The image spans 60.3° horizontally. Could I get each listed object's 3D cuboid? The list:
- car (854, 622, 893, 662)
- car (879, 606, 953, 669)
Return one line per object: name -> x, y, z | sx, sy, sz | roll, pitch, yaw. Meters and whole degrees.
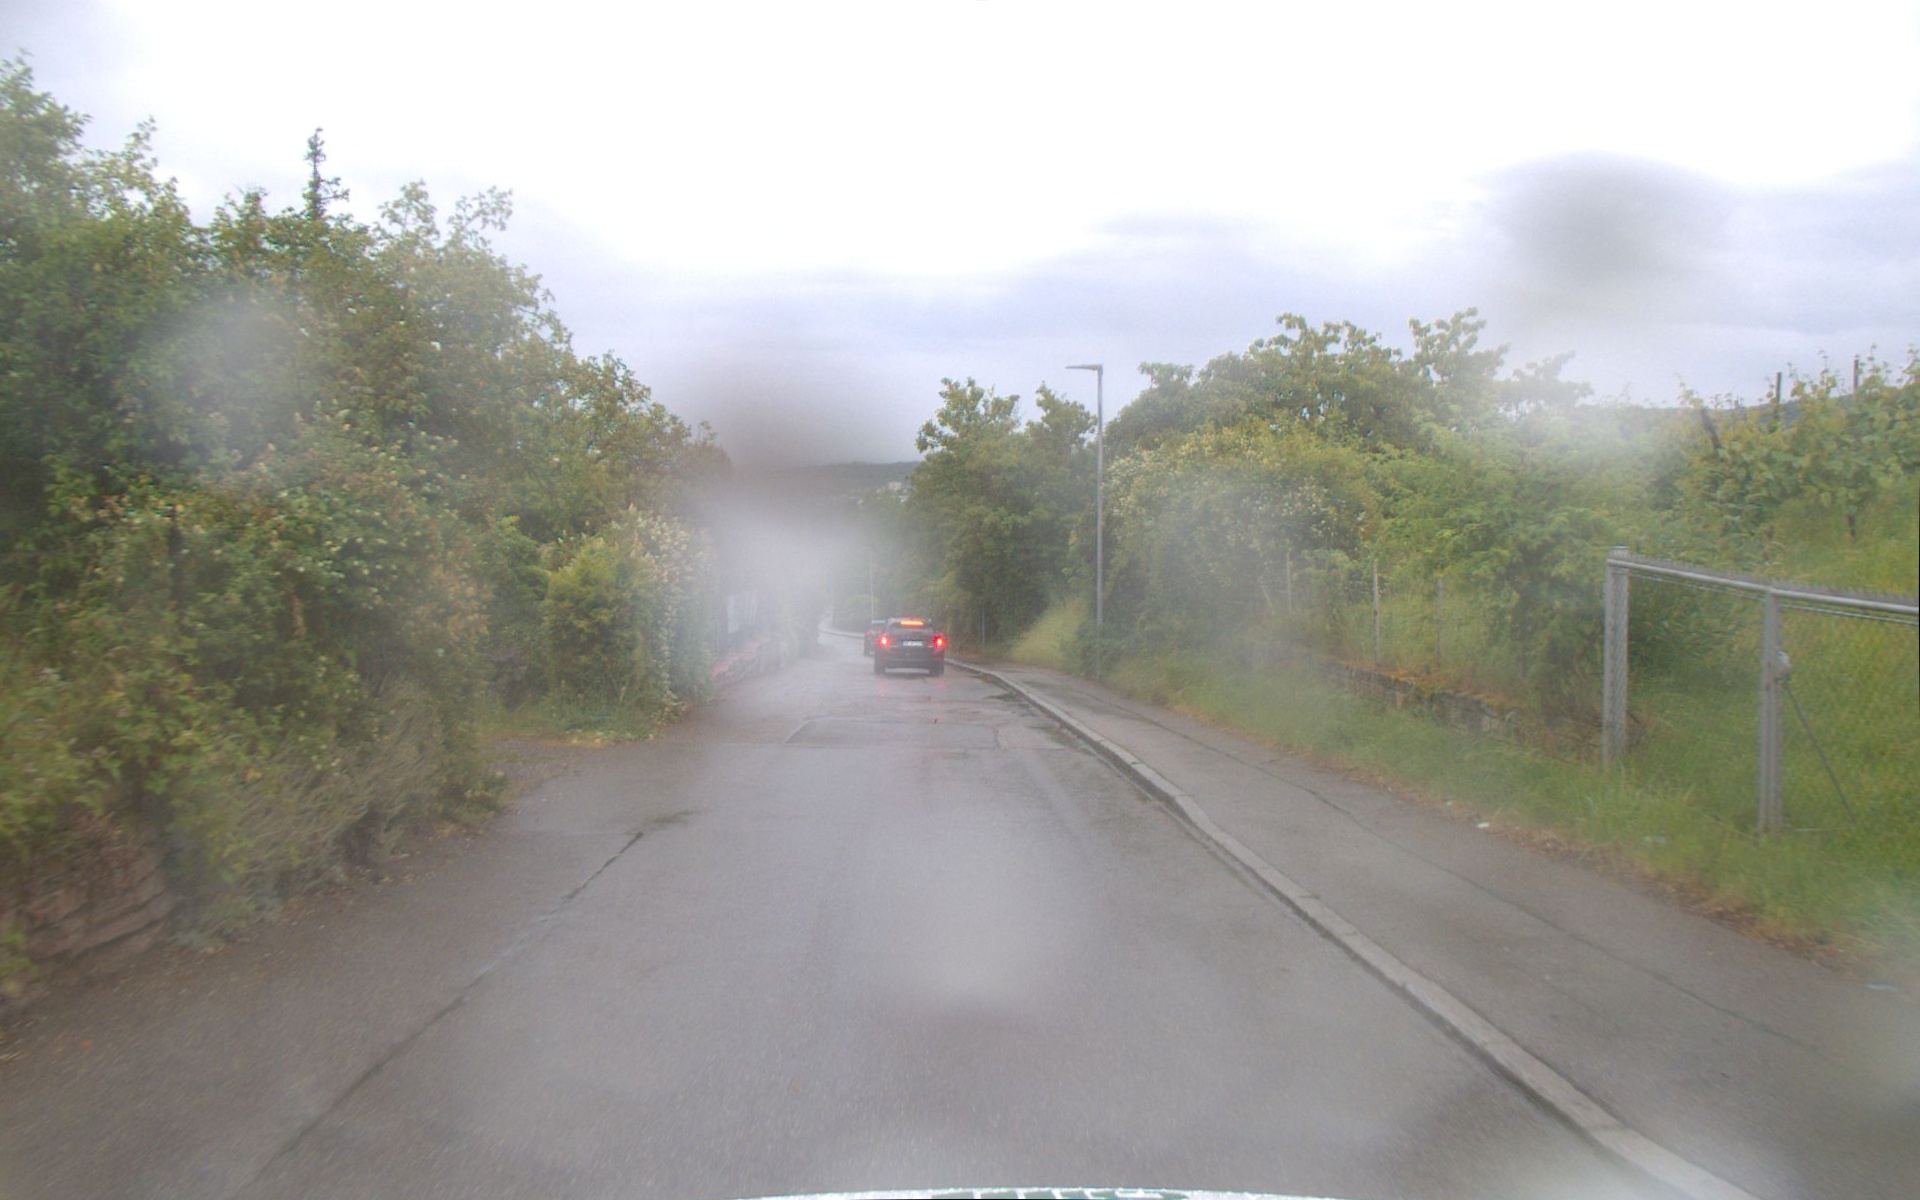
car -> -3.854, 1.853, 73.882 | 1.644, 1.592, 3.793 | 1, 1, -2
car -> -1.187, 0.945, 43.144 | 1.798, 1.489, 3.998 | -1, 1, -3
